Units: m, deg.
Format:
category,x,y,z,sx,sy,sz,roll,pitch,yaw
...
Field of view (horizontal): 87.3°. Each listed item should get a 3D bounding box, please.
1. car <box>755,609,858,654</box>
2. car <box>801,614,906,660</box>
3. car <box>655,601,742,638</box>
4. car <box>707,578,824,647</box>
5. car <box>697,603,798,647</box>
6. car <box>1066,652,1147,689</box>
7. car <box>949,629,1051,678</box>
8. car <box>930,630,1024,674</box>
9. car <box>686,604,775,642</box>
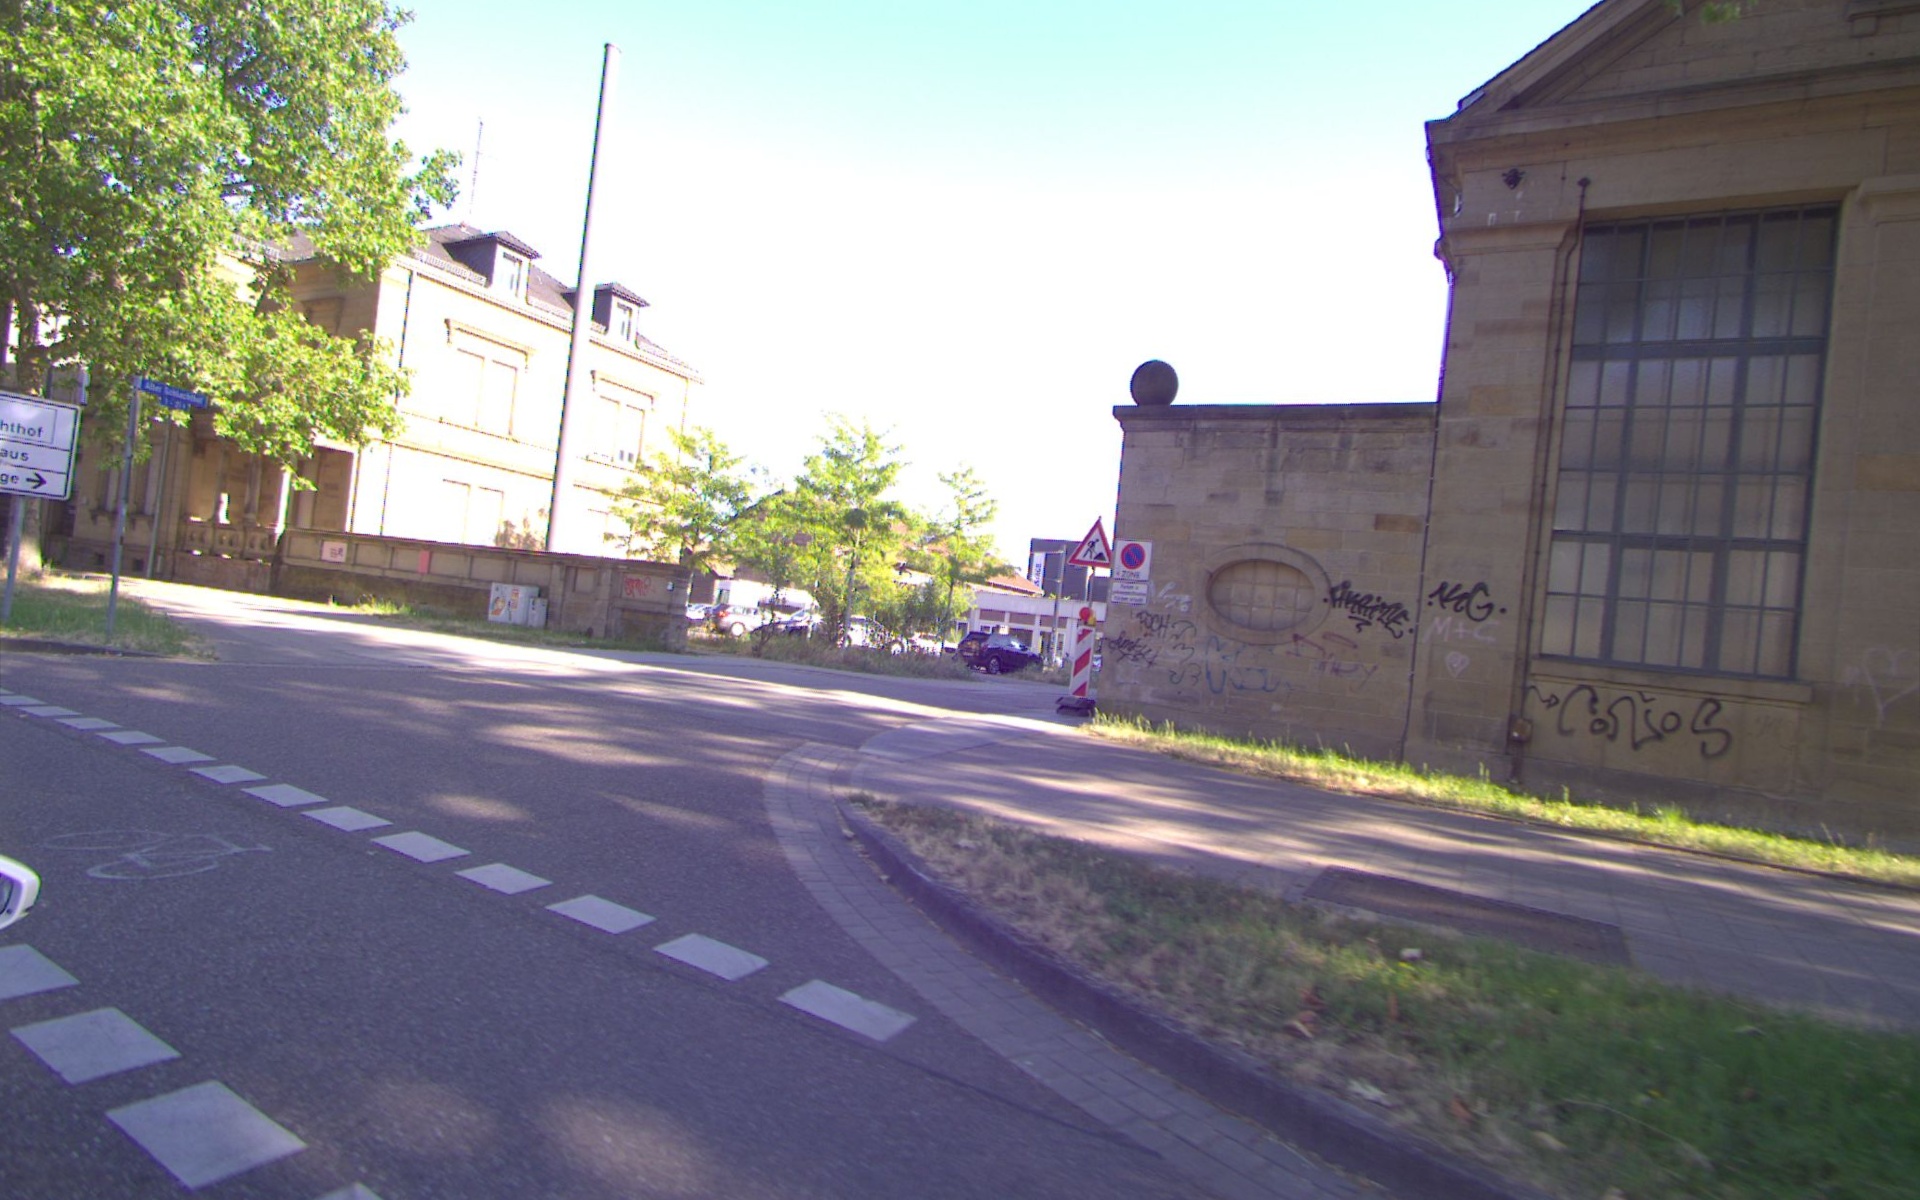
category,x,y,z,sx,sy,sz,roll,pitch,yaw
car,-6.803,1.430,44.765,4.095,1.527,1.782,8,-3,-38
car,-4.576,1.604,43.339,4.095,1.527,1.782,8,-3,-38
car,-14.097,1.055,54.326,4.095,1.527,1.782,8,-3,-38
car,-9.683,0.666,50.441,5.318,2.839,1.782,8,-3,-38
car,-9.797,1.169,46.516,4.095,1.527,1.782,8,-3,-38
car,7.686,3.691,52.767,3.962,1.527,1.785,8,-3,-34
car,1.653,2.159,40.346,3.978,1.527,1.778,9,-4,-45
car,0.797,2.333,44.612,3.978,1.527,1.778,9,-4,-45
car,-12.021,1.205,52.798,4.095,1.527,1.782,8,-3,-38
